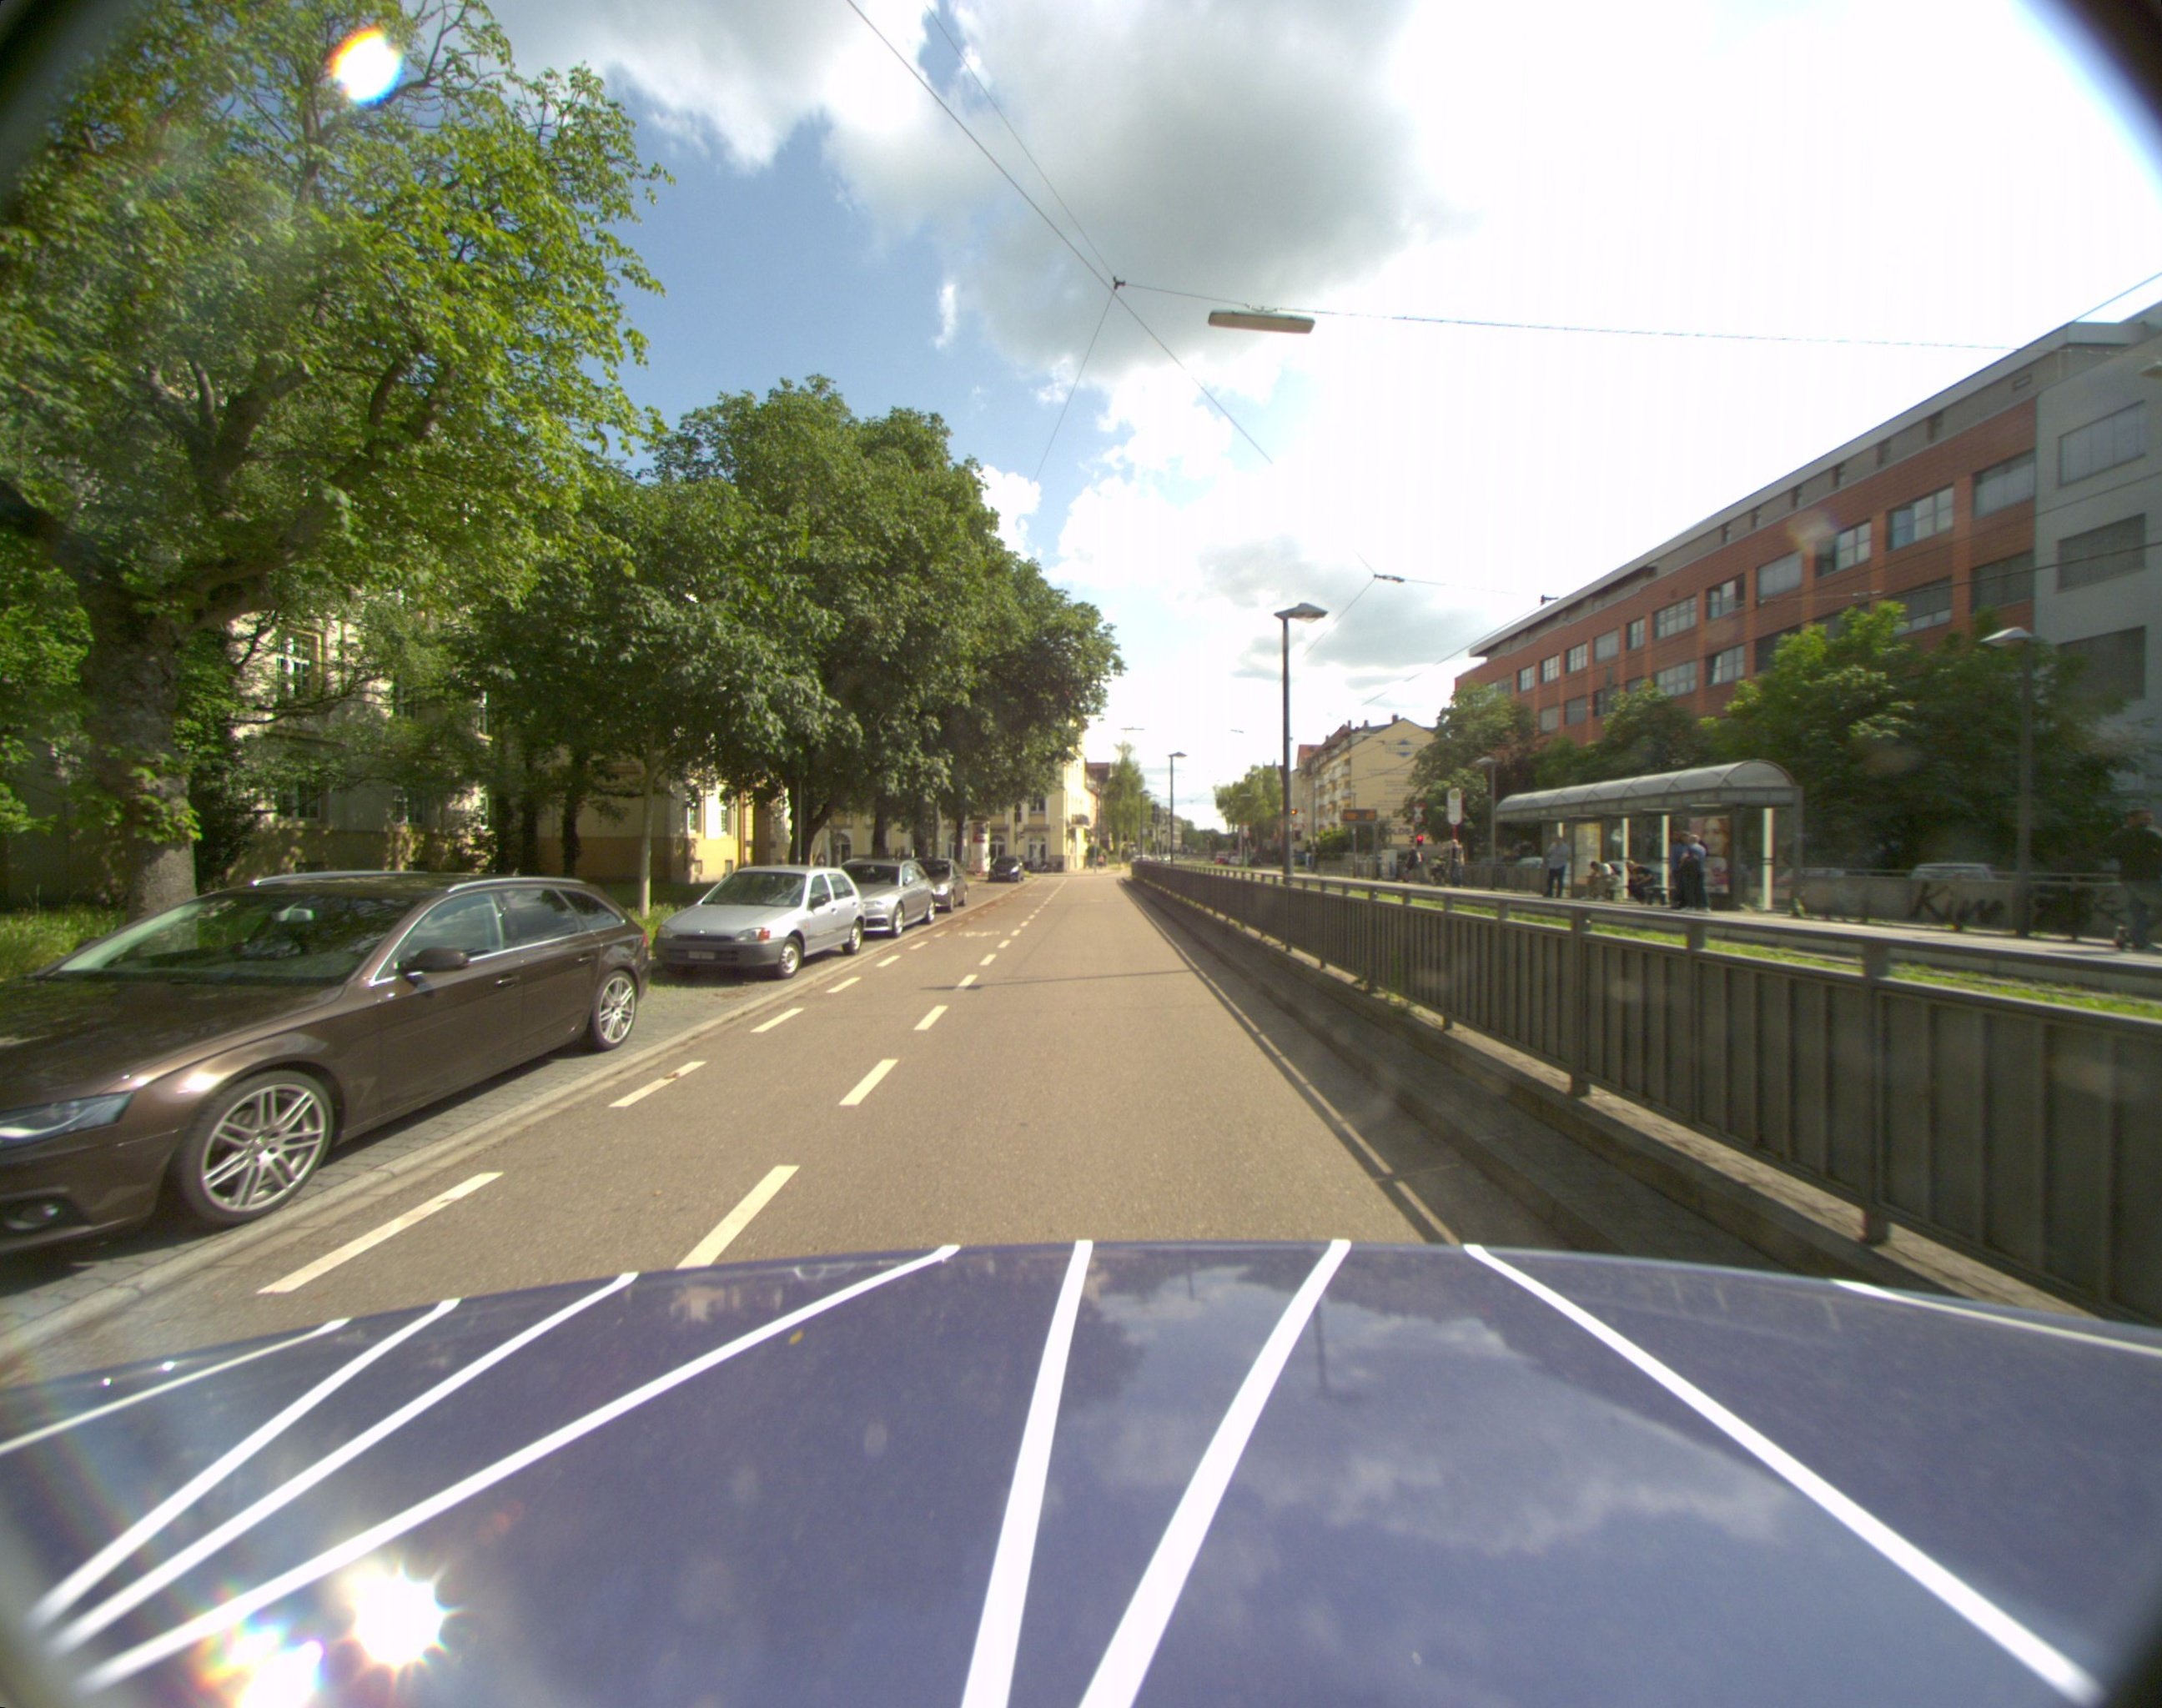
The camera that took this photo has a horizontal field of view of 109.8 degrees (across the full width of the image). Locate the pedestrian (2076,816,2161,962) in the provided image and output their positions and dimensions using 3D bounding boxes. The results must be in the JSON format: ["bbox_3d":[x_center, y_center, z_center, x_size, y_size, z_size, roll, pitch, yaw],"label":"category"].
[{"bbox_3d":[12.981,0.416,9.438,0.607,1.744,0.626,1,2,41],"label":"pedestrian"}]

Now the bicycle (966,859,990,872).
[{"bbox_3d":[-8.721,0.965,64.184,1.941,1.039,0.617,1,2,22],"label":"bicycle"}]

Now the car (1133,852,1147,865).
[{"bbox_3d":[7.816,0.534,101.008,1.848,1.606,3.814,-2,1,3],"label":"car"}]

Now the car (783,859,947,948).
[{"bbox_3d":[-4.235,0.875,15.839,1.833,1.433,5.049,3,0,1],"label":"car"}]

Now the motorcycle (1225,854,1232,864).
[{"bbox_3d":[22.068,0.710,113.607,0.634,1.395,2.010,-2,1,3],"label":"motorcycle"}]

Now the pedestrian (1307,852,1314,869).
[{"bbox_3d":[23.553,0.646,77.994,0.650,1.700,0.481,0,1,2],"label":"pedestrian"}]

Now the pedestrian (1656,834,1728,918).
[{"bbox_3d":[12.900,0.444,16.066,0.634,1.733,1.036,0,1,-2],"label":"pedestrian"}]

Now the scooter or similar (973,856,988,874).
[{"bbox_3d":[-6.938,0.762,52.444,0.414,1.171,1.128,-2,-1,29],"label":"scooter or similar"}]

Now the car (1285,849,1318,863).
[{"bbox_3d":[30.777,0.243,106.368,4.255,2.002,2.002,0,0,10],"label":"car"}]

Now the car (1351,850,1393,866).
[{"bbox_3d":[28.838,0.408,75.444,3.608,1.470,1.777,0,-3,8],"label":"car"}]

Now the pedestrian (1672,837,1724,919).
[{"bbox_3d":[12.485,0.482,15.395,0.598,1.623,0.558,0,0,-13],"label":"pedestrian"}]

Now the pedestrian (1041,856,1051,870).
[{"bbox_3d":[-3.087,0.776,66.758,0.804,1.238,0.892,0,3,3],"label":"pedestrian"}]

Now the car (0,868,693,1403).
[{"bbox_3d":[-4.468,0.950,4.689,1.836,1.458,4.828,2,1,-3],"label":"car"}]

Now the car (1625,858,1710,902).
[{"bbox_3d":[22.145,0.948,28.662,3.072,1.402,1.668,-2,3,-35],"label":"car"}]

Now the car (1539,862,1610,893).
[{"bbox_3d":[22.763,1.057,35.036,3.258,1.296,1.599,0,0,-34],"label":"car"}]

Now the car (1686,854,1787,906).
[{"bbox_3d":[22.863,0.854,26.453,4.007,1.630,1.668,0,2,-35],"label":"car"}]

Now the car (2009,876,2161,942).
[{"bbox_3d":[23.268,1.191,17.426,4.005,1.143,1.789,-2,0,-28],"label":"car"}]

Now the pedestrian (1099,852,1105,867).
[{"bbox_3d":[2.285,0.577,82.163,0.593,1.622,0.538,3,1,3],"label":"pedestrian"}]

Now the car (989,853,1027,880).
[{"bbox_3d":[-4.086,0.681,43.084,1.689,1.379,3.924,1,1,1],"label":"car"}]

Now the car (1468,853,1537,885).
[{"bbox_3d":[22.660,0.763,40.829,3.850,1.649,1.870,0,0,-38],"label":"car"}]

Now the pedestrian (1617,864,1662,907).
[{"bbox_3d":[13.783,0.775,18.752,0.655,1.025,0.562,1,1,-2],"label":"pedestrian"}]

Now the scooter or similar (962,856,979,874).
[{"bbox_3d":[-7.665,0.742,52.814,1.105,1.234,0.447,0,1,23],"label":"scooter or similar"}]

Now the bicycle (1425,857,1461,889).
[{"bbox_3d":[13.269,0.684,27.932,0.663,1.107,1.878,2,1,9],"label":"bicycle"}]

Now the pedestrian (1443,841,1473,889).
[{"bbox_3d":[13.761,0.379,27.748,0.640,1.715,0.798,0,1,-2],"label":"pedestrian"}]

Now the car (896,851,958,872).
[{"bbox_3d":[-13.143,0.642,64.919,4.828,1.646,1.858,0,2,11],"label":"car"}]

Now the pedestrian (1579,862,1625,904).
[{"bbox_3d":[13.389,0.733,19.545,0.721,1.025,0.623,1,1,-2],"label":"pedestrian"}]

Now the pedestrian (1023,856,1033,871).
[{"bbox_3d":[-4.623,0.805,66.328,0.804,1.281,0.759,0,3,3],"label":"pedestrian"}]

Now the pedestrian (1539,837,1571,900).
[{"bbox_3d":[13.183,0.392,21.154,0.487,1.716,0.623,-1,1,-2],"label":"pedestrian"}]

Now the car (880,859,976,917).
[{"bbox_3d":[-4.345,0.914,22.272,1.833,1.392,4.656,3,0,0],"label":"car"}]

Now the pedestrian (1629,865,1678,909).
[{"bbox_3d":[13.613,0.782,18.081,0.706,0.989,0.562,1,1,-2],"label":"pedestrian"}]

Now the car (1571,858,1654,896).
[{"bbox_3d":[22.367,0.935,31.964,3.317,1.412,1.581,-3,1,-29],"label":"car"}]

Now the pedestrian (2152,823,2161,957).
[{"bbox_3d":[13.749,0.451,9.202,0.608,1.665,0.625,0,2,1],"label":"pedestrian"}]

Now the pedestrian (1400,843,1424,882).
[{"bbox_3d":[14.253,0.358,32.753,0.667,1.689,0.798,0,1,-2],"label":"pedestrian"}]

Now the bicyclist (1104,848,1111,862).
[{"bbox_3d":[3.168,0.093,91.982,0.772,1.663,0.951,1,-3,-3],"label":"bicyclist"}]

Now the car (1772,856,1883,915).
[{"bbox_3d":[22.651,0.891,23.018,4.007,1.520,1.668,-2,1,-35],"label":"car"}]

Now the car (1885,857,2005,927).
[{"bbox_3d":[22.834,0.935,20.041,4.007,1.520,1.668,-2,1,-36],"label":"car"}]

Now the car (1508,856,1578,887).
[{"bbox_3d":[23.508,0.852,38.624,4.008,1.488,1.646,0,0,-36],"label":"car"}]

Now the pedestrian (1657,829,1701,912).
[{"bbox_3d":[13.315,0.365,16.938,0.444,1.816,0.623,0,1,-2],"label":"pedestrian"}]

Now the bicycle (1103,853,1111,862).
[{"bbox_3d":[3.158,0.446,91.899,0.772,1.097,2.570,1,0,-3],"label":"bicycle"}]

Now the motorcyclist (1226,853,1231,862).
[{"bbox_3d":[22.080,0.523,113.604,0.663,1.350,0.693,-2,1,3],"label":"motorcyclist"}]

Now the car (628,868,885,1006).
[{"bbox_3d":[-4.204,0.972,10.630,1.639,1.423,4.016,3,0,3],"label":"car"}]
